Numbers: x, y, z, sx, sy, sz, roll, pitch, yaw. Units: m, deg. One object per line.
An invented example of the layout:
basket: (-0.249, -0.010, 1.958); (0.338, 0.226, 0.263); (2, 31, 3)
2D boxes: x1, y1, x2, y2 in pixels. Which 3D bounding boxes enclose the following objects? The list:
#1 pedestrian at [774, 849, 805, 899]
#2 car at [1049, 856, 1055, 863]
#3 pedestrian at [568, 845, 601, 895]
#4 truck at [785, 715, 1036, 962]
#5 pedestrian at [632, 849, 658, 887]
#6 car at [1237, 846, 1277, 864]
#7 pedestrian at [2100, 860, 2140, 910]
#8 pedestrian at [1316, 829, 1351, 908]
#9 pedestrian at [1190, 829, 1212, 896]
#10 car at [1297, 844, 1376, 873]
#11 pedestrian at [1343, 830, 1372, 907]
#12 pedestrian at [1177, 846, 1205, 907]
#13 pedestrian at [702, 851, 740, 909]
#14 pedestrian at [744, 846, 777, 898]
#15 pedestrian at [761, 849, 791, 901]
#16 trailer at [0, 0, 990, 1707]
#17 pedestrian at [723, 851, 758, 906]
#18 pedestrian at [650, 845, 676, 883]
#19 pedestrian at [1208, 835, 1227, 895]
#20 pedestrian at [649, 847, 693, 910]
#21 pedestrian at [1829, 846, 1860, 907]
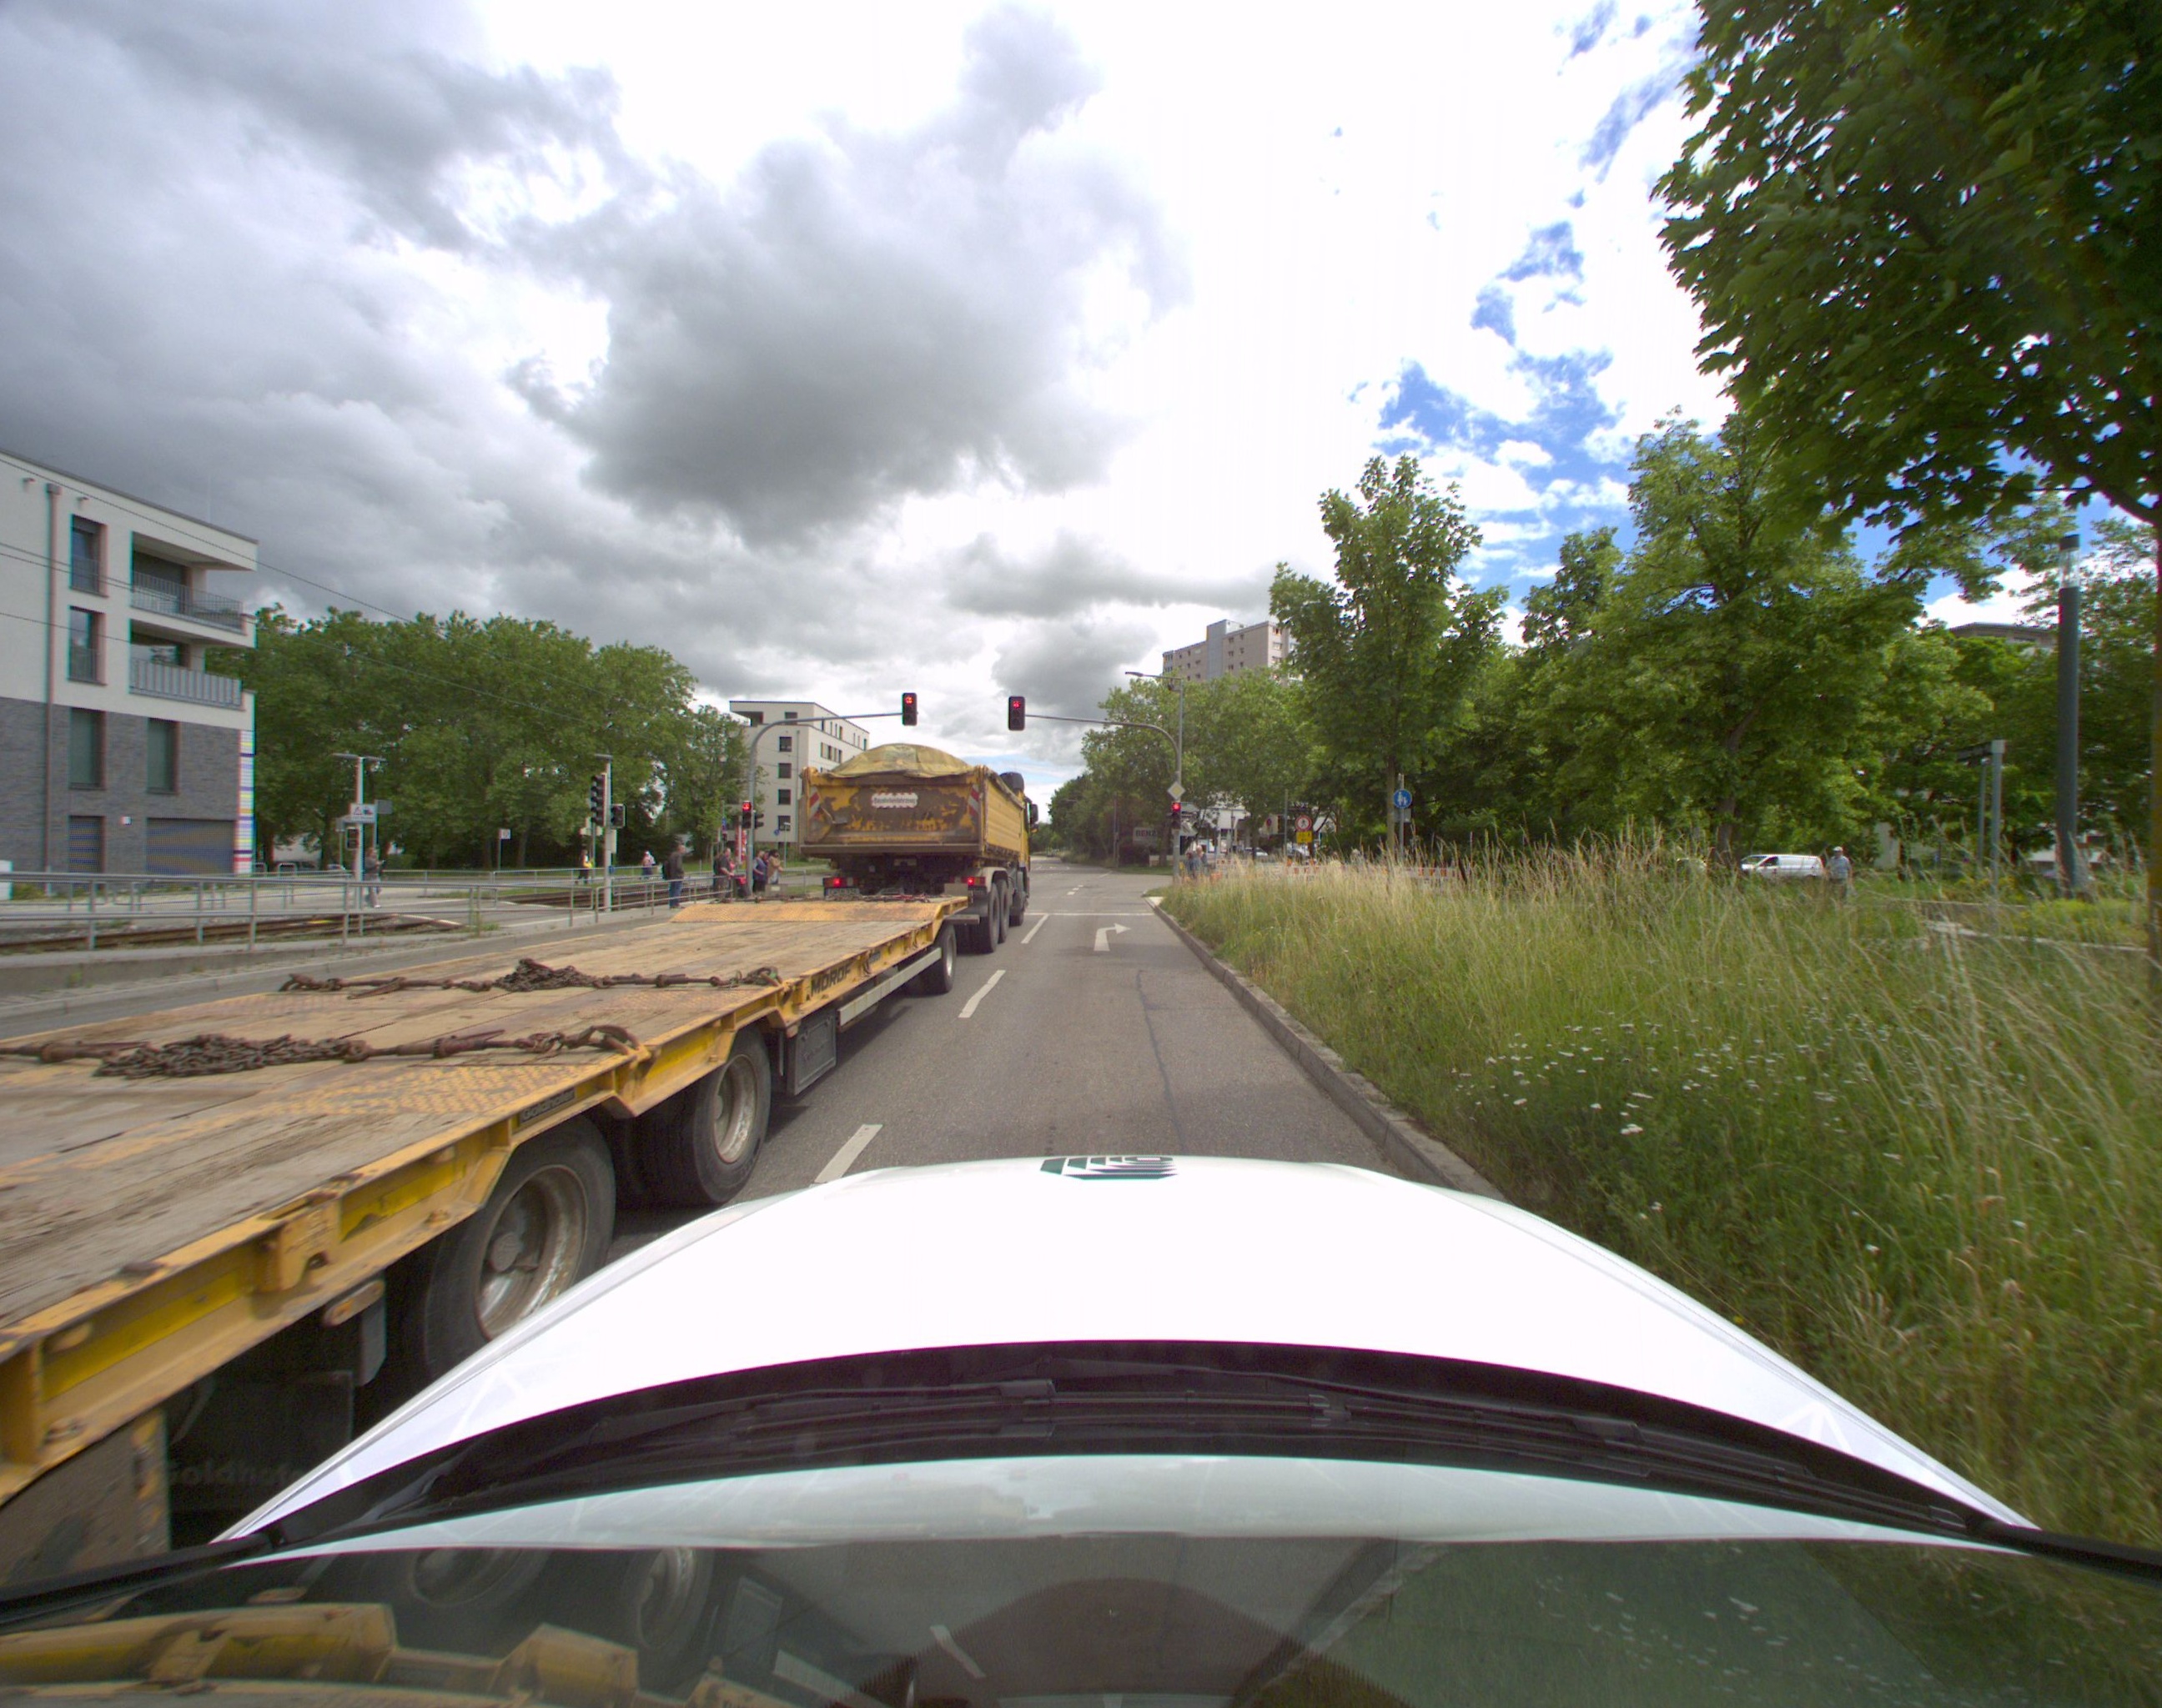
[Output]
pedestrian: (-9.938, 0.683, 27.791); (0.832, 1.670, 0.936); (1, 0, -11)
car: (-8.457, 1.560, 234.345); (1.686, 1.925, 3.995); (1, 0, -3)
pedestrian: (-22.398, 0.704, 36.767); (0.912, 2.205, 0.882); (1, 0, 1)
truck: (-2.536, -0.223, 15.217); (2.743, 3.313, 8.353); (1, 0, 1)
pedestrian: (-24.867, 0.792, 46.477); (0.912, 2.133, 0.935); (1, 0, 1)
car: (18.412, 0.121, 85.063); (4.018, 1.783, 1.978); (1, 0, -37)
pedestrian: (33.580, 1.002, 26.332); (0.486, 1.580, 0.646); (1, 0, -12)
pedestrian: (6.511, 0.380, 21.022); (0.671, 2.014, 0.633); (1, -1, -8)
pedestrian: (3.668, 0.269, 24.921); (0.561, 2.014, 0.490); (1, -1, -8)
car: (14.848, 0.277, 47.506); (3.973, 1.607, 2.000); (1, 0, 0)
pedestrian: (7.287, 0.386, 21.480); (0.561, 2.014, 0.490); (1, -1, -8)
pedestrian: (3.073, 0.618, 22.699); (0.621, 1.653, 0.566); (0, -1, 27)
pedestrian: (-10.174, 0.728, 23.049); (0.679, 1.602, 0.823); (1, 0, 0)
pedestrian: (-10.082, 0.555, 25.625); (0.679, 1.602, 0.823); (1, 0, 0)
pedestrian: (-10.013, 0.686, 26.757); (0.679, 1.670, 0.823); (1, 0, 0)
trailer: (-2.737, -0.440, 5.388); (2.719, 3.558, 11.256); (1, 0, 1)
pedestrian: (-10.126, 0.725, 24.240); (0.679, 1.602, 0.823); (1, 0, 0)
pedestrian: (-23.699, 0.541, 46.180); (0.912, 2.133, 0.935); (1, 0, 1)
pedestrian: (4.602, 0.366, 27.535); (0.499, 2.014, 0.490); (1, -1, -8)
pedestrian: (-11.087, 0.658, 22.039); (0.817, 1.668, 0.684); (1, 0, 2)
pedestrian: (22.335, 0.641, 23.836); (0.490, 1.743, 0.571); (1, 0, -35)
